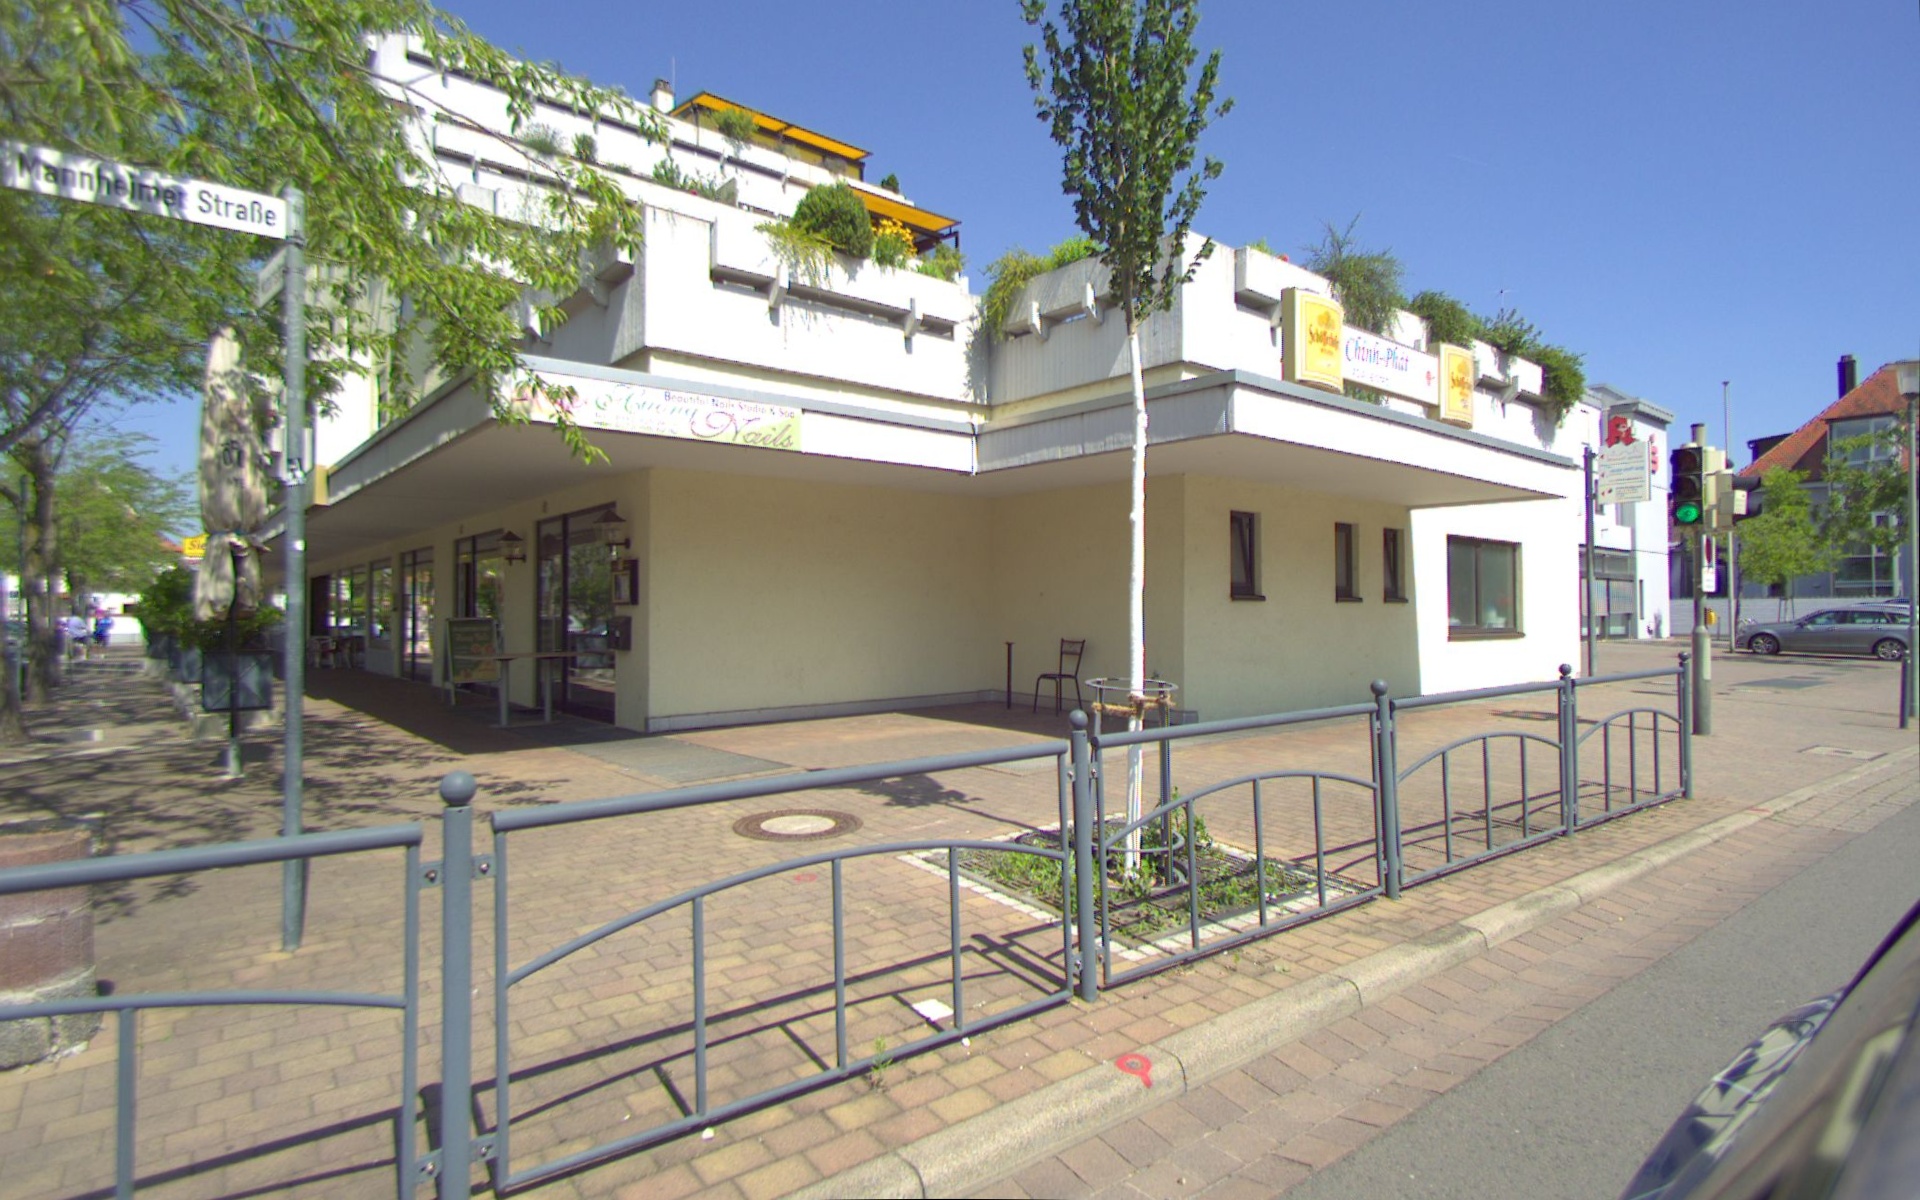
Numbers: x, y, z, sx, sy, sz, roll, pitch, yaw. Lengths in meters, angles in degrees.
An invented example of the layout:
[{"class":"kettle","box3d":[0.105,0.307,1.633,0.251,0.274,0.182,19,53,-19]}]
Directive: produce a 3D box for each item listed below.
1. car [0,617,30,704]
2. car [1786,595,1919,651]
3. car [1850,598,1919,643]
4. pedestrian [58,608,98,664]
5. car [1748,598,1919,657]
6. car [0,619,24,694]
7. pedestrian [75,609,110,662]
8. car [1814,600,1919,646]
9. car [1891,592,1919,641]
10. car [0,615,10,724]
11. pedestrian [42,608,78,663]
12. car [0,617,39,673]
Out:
[{"class":"car","box3d":[-19.284,1.124,17.903,4.127,1.561,1.940,0,-1,-44]},{"class":"car","box3d":[27.446,0.667,30.299,1.684,1.579,4.039,0,1,-43]},{"class":"car","box3d":[33.349,0.702,35.223,1.464,1.572,3.426,0,0,-41]},{"class":"pedestrian","box3d":[-29.339,1.177,33.686,0.823,1.810,0.807,0,-1,-28]},{"class":"car","box3d":[25.206,0.740,28.592,1.662,1.484,4.439,-1,1,-42]},{"class":"car","box3d":[-22.664,1.227,21.394,4.092,1.594,1.757,0,0,-39]},{"class":"pedestrian","box3d":[-30.143,1.223,35.166,0.804,1.810,0.827,-1,-1,43]},{"class":"car","box3d":[31.395,0.754,33.679,1.629,1.460,4.436,0,1,-44]},{"class":"car","box3d":[35.331,0.611,36.078,1.322,1.759,3.036,1,0,-42]},{"class":"car","box3d":[-15.726,1.043,13.988,3.671,1.554,1.762,-2,0,-41]},{"class":"pedestrian","box3d":[-30.384,1.176,34.170,0.804,1.810,0.827,-1,-1,43]},{"class":"car","box3d":[-29.980,1.351,29.812,4.184,1.636,1.555,0,-1,-42]}]
